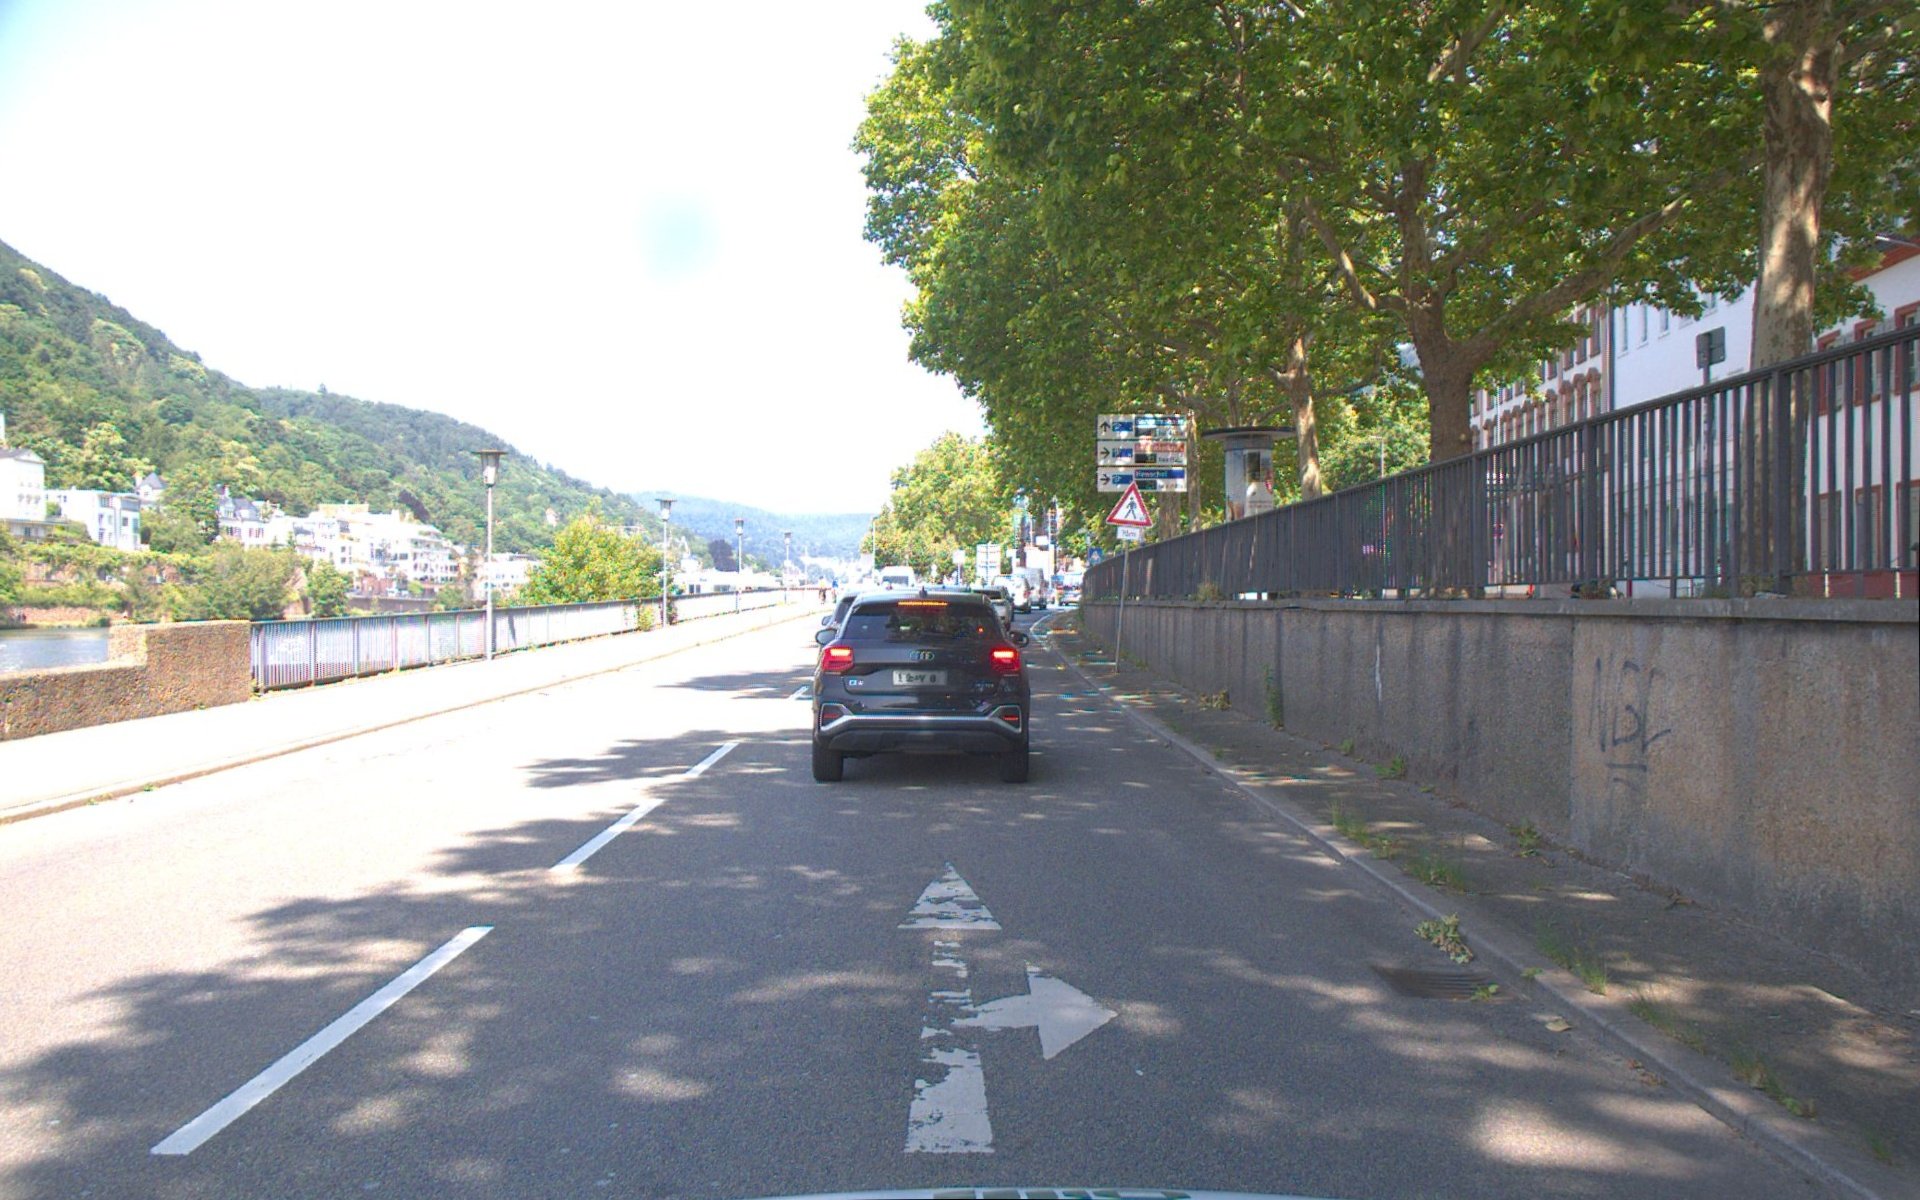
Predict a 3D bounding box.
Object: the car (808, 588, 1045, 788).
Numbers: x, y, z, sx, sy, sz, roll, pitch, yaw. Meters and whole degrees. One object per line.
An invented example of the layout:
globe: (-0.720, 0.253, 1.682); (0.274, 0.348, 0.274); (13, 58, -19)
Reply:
car: (-0.300, 0.660, 14.631); (1.791, 1.512, 3.999); (1, 0, -1)

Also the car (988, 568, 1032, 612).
car: (2.688, -0.535, 87.680); (1.951, 2.207, 4.003); (-3, 0, 5)

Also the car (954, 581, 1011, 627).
car: (0.738, 0.117, 56.394); (1.791, 1.470, 3.999); (1, 0, -1)

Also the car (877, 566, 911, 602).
car: (-4.097, -0.988, 102.780); (1.953, 2.048, 3.999); (-3, 0, -1)

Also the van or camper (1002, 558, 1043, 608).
van or camper: (3.762, -1.050, 100.931); (2.262, 2.896, 4.246); (-3, 0, 1)

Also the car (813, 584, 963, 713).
car: (-0.911, 0.569, 21.930); (1.791, 1.537, 3.999); (1, 0, -1)

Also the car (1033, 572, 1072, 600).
car: (7.419, -1.115, 132.958); (2.608, 2.048, 5.823); (-3, 0, -1)

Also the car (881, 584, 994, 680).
car: (-0.405, 0.500, 28.474); (1.791, 1.512, 3.999); (1, 0, -1)

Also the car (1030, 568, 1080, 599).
car: (6.784, -1.177, 119.355); (3.036, 2.048, 5.823); (-3, 0, -2)
